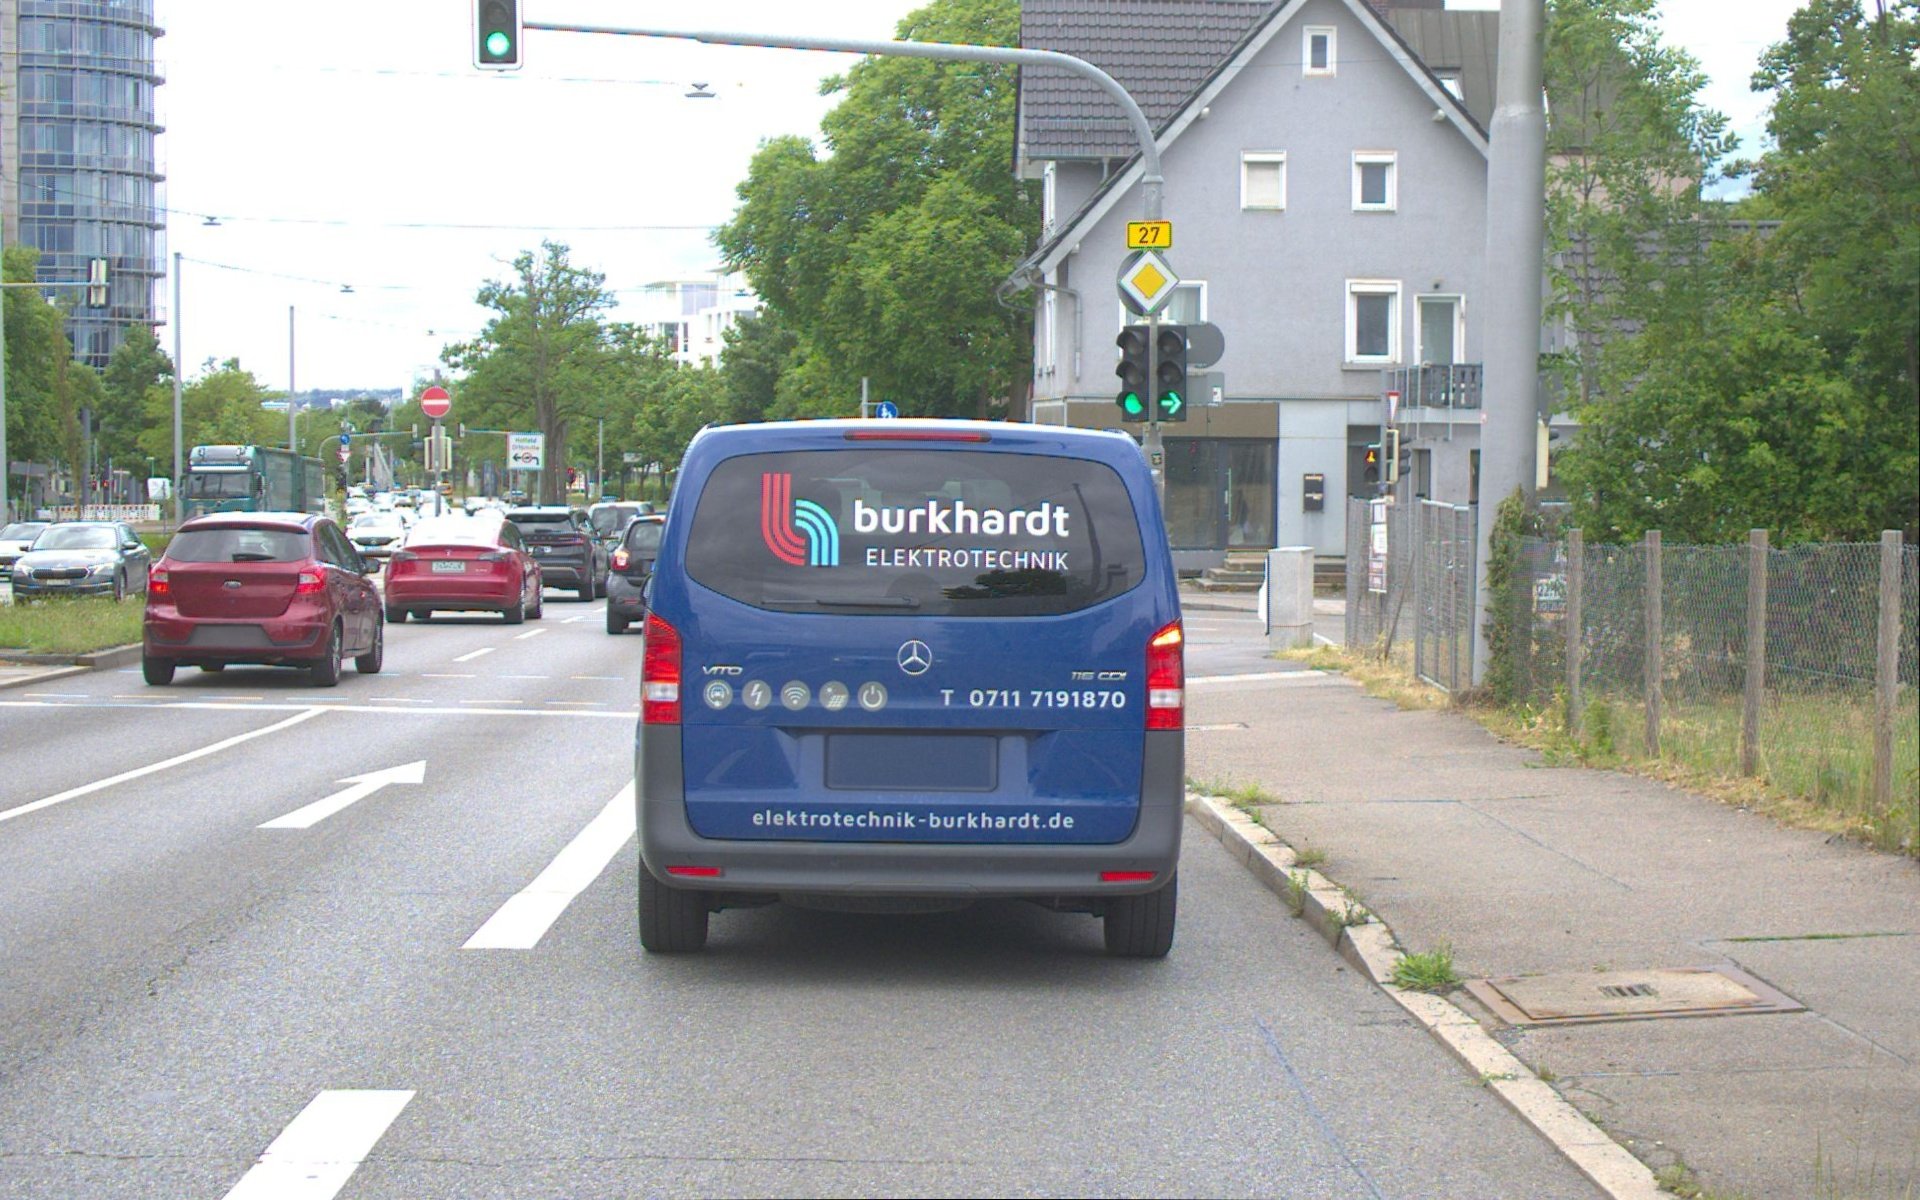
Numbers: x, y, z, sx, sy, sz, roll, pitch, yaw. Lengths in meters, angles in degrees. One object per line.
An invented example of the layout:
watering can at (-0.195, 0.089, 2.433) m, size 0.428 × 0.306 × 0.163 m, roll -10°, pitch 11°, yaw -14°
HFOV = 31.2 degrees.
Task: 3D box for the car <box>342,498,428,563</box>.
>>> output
car at (-18.087, -2.202, 108.301) m, size 1.993 × 2.007 × 4.179 m, roll 0°, pitch 1°, yaw 0°

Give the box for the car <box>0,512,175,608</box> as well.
car at (-14.889, -0.713, 58.632) m, size 1.993 × 1.568 × 4.516 m, roll 0°, pitch 1°, yaw -1°

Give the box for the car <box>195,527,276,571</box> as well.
car at (-21.442, -1.514, 101.838) m, size 1.829 × 1.258 × 4.001 m, roll 0°, pitch 1°, yaw -4°

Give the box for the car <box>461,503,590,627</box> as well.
car at (-7.658, -0.644, 60.305) m, size 1.993 × 2.006 × 4.002 m, roll 1°, pitch 2°, yaw -10°

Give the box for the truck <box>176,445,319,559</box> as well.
truck at (-24.707, -3.369, 119.730) m, size 3.367 × 3.714 × 11.282 m, roll 1°, pitch 1°, yaw -4°

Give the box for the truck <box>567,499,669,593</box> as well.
truck at (-8.384, -1.344, 84.700) m, size 1.993 × 2.158 × 5.560 m, roll 2°, pitch 1°, yaw -1°

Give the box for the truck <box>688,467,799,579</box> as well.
truck at (-4.472, -1.608, 71.778) m, size 1.993 × 2.158 × 5.560 m, roll 2°, pitch 1°, yaw -1°

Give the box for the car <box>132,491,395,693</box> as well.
car at (-6.250, -0.123, 31.253) m, size 1.746 × 1.717 × 4.001 m, roll 0°, pitch 2°, yaw -3°

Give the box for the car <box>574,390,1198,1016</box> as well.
car at (-0.302, 0.282, 13.197) m, size 1.947 × 1.959 × 4.542 m, roll 1°, pitch 1°, yaw -2°

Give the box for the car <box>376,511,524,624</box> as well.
car at (-7.046, -0.470, 47.207) m, size 1.868 × 1.481 × 4.001 m, roll 0°, pitch 1°, yaw -10°

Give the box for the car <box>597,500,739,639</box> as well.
car at (-3.772, -0.436, 44.597) m, size 1.746 × 1.717 × 4.001 m, roll 0°, pitch 2°, yaw -4°

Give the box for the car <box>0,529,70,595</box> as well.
car at (-23.224, -0.957, 84.677) m, size 1.732 × 1.568 × 4.507 m, roll 0°, pitch 1°, yaw -4°
